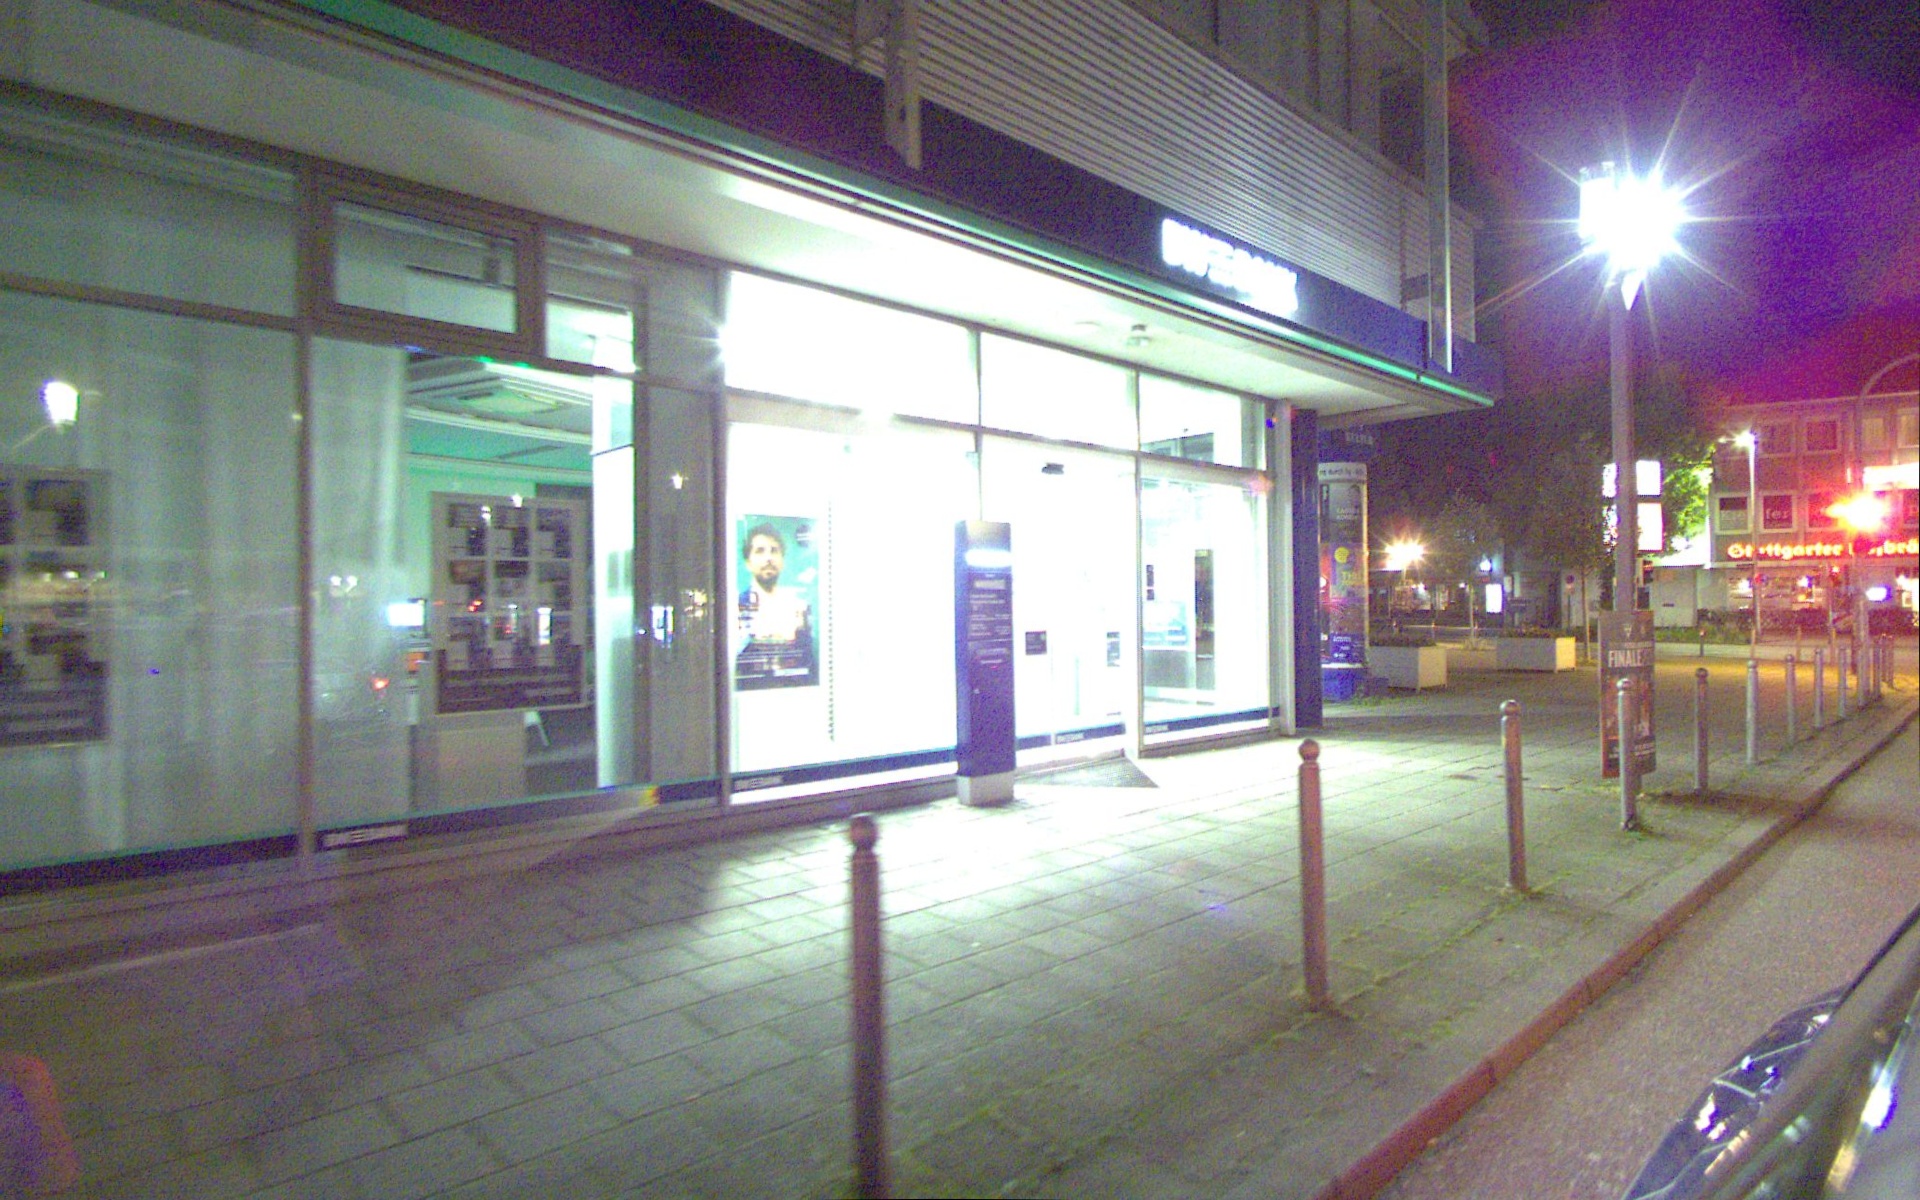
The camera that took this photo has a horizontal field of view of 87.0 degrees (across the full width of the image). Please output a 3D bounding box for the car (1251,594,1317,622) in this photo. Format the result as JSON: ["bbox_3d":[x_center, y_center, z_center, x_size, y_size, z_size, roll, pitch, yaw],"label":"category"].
[{"bbox_3d":[20.671,0.491,64.768,1.836,1.674,3.869,1,0,-27],"label":"car"}]
